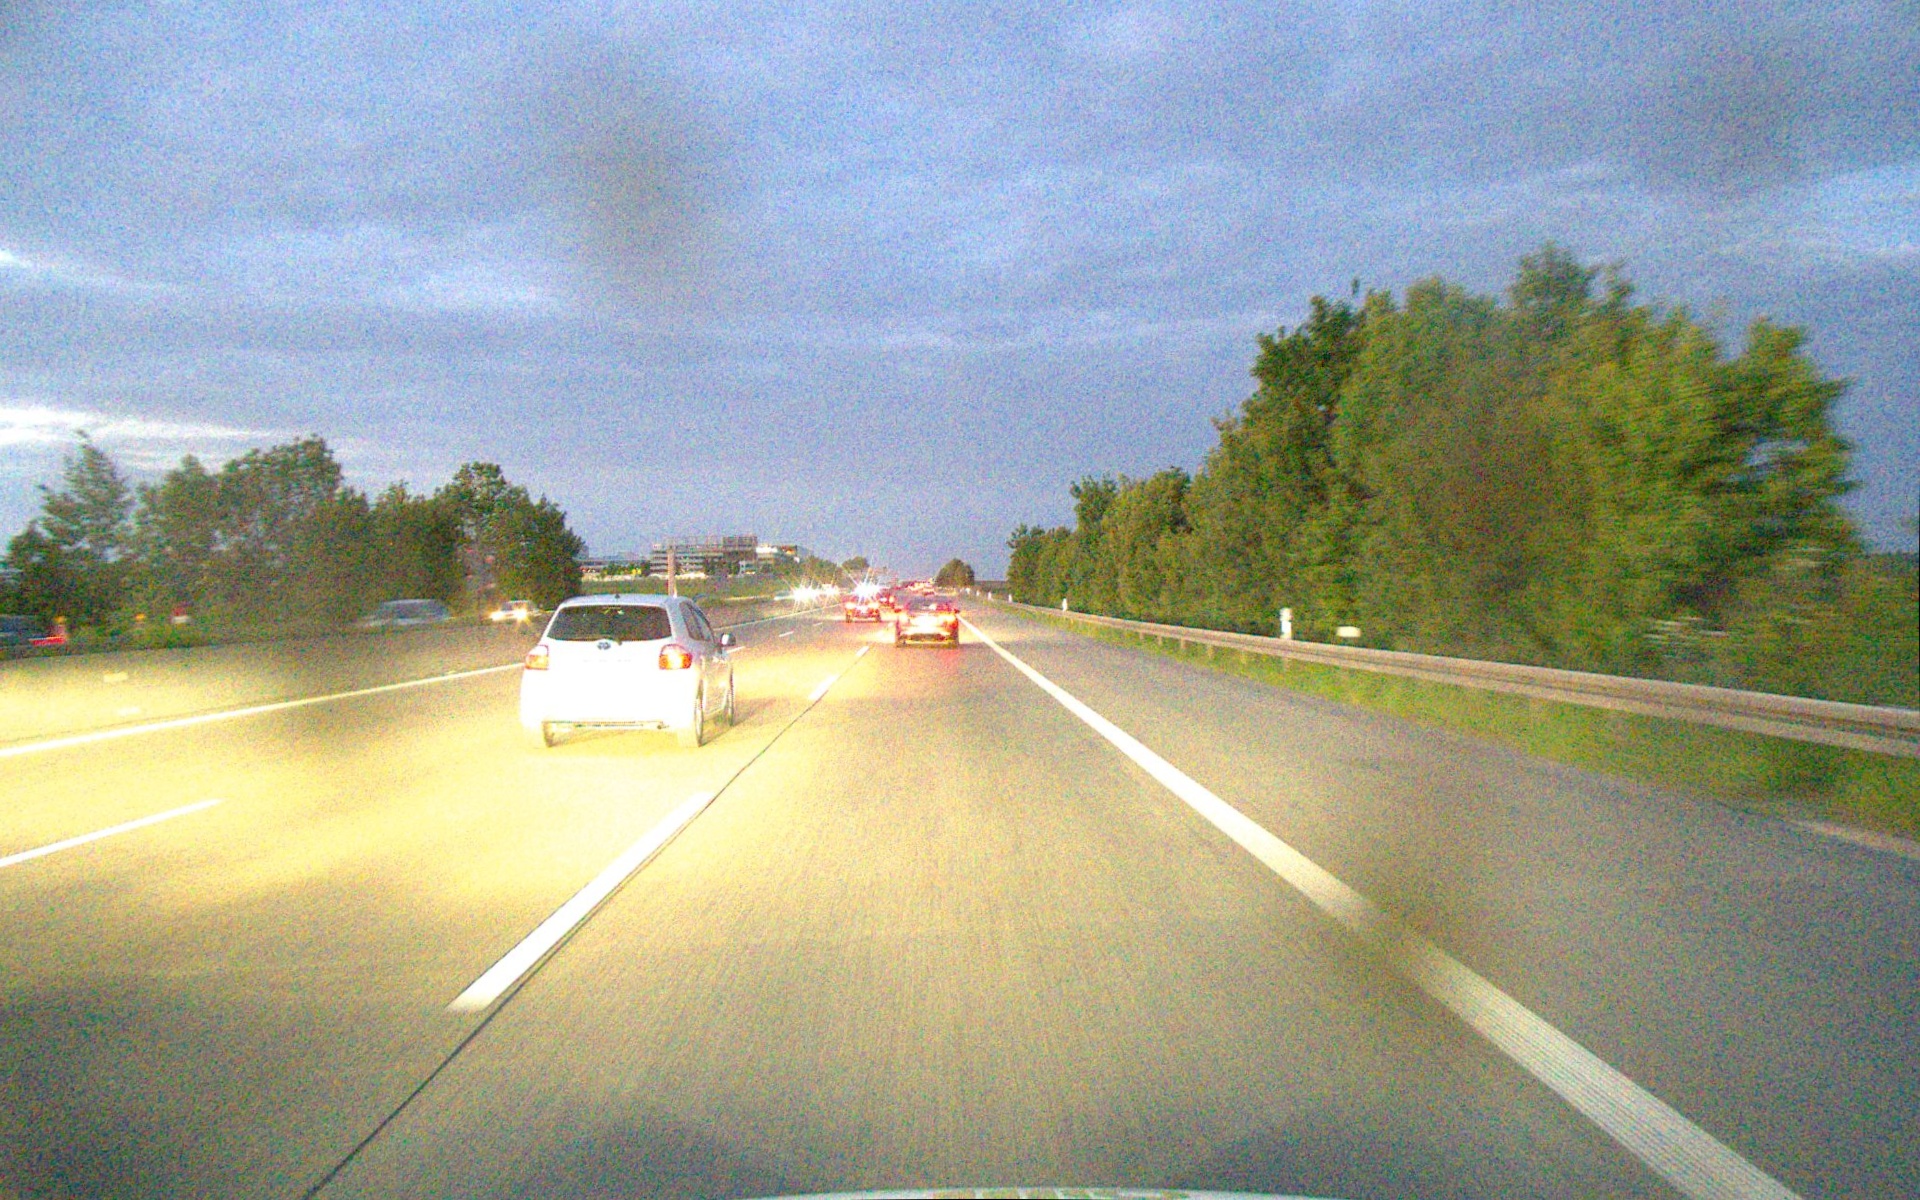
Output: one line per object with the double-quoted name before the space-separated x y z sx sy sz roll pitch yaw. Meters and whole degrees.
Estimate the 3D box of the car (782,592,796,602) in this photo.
"car" -24.319 -0.373 235.384 1.709 1.386 4.110 1 0 -2

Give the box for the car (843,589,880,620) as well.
"car" -5.091 0.241 85.807 1.842 1.579 3.998 1 0 -2

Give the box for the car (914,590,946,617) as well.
"car" -1.851 0.189 99.585 1.842 1.579 3.998 1 0 -2

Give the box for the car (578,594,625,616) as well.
"car" -20.492 0.295 94.738 1.892 1.199 3.999 1 0 -1

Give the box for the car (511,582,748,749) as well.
"car" -3.388 0.620 17.767 1.709 1.551 4.413 1 0 -1

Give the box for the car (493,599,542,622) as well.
"car" -24.134 0.565 90.361 1.683 1.199 3.999 1 0 -1

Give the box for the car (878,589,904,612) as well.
"car" -5.794 0.064 139.200 2.154 1.912 3.999 1 0 -2

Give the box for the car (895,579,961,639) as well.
"car" -0.955 0.250 48.586 1.842 1.672 3.999 1 0 -2

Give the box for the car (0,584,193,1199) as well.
"car" -2.995 0.700 2.229 1.687 1.497 4.726 1 0 0

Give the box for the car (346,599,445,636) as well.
"car" -16.101 0.488 47.311 1.658 1.006 3.565 1 0 -1

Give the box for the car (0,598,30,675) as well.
"car" -19.683 0.700 31.345 1.953 1.514 3.998 1 0 -2
